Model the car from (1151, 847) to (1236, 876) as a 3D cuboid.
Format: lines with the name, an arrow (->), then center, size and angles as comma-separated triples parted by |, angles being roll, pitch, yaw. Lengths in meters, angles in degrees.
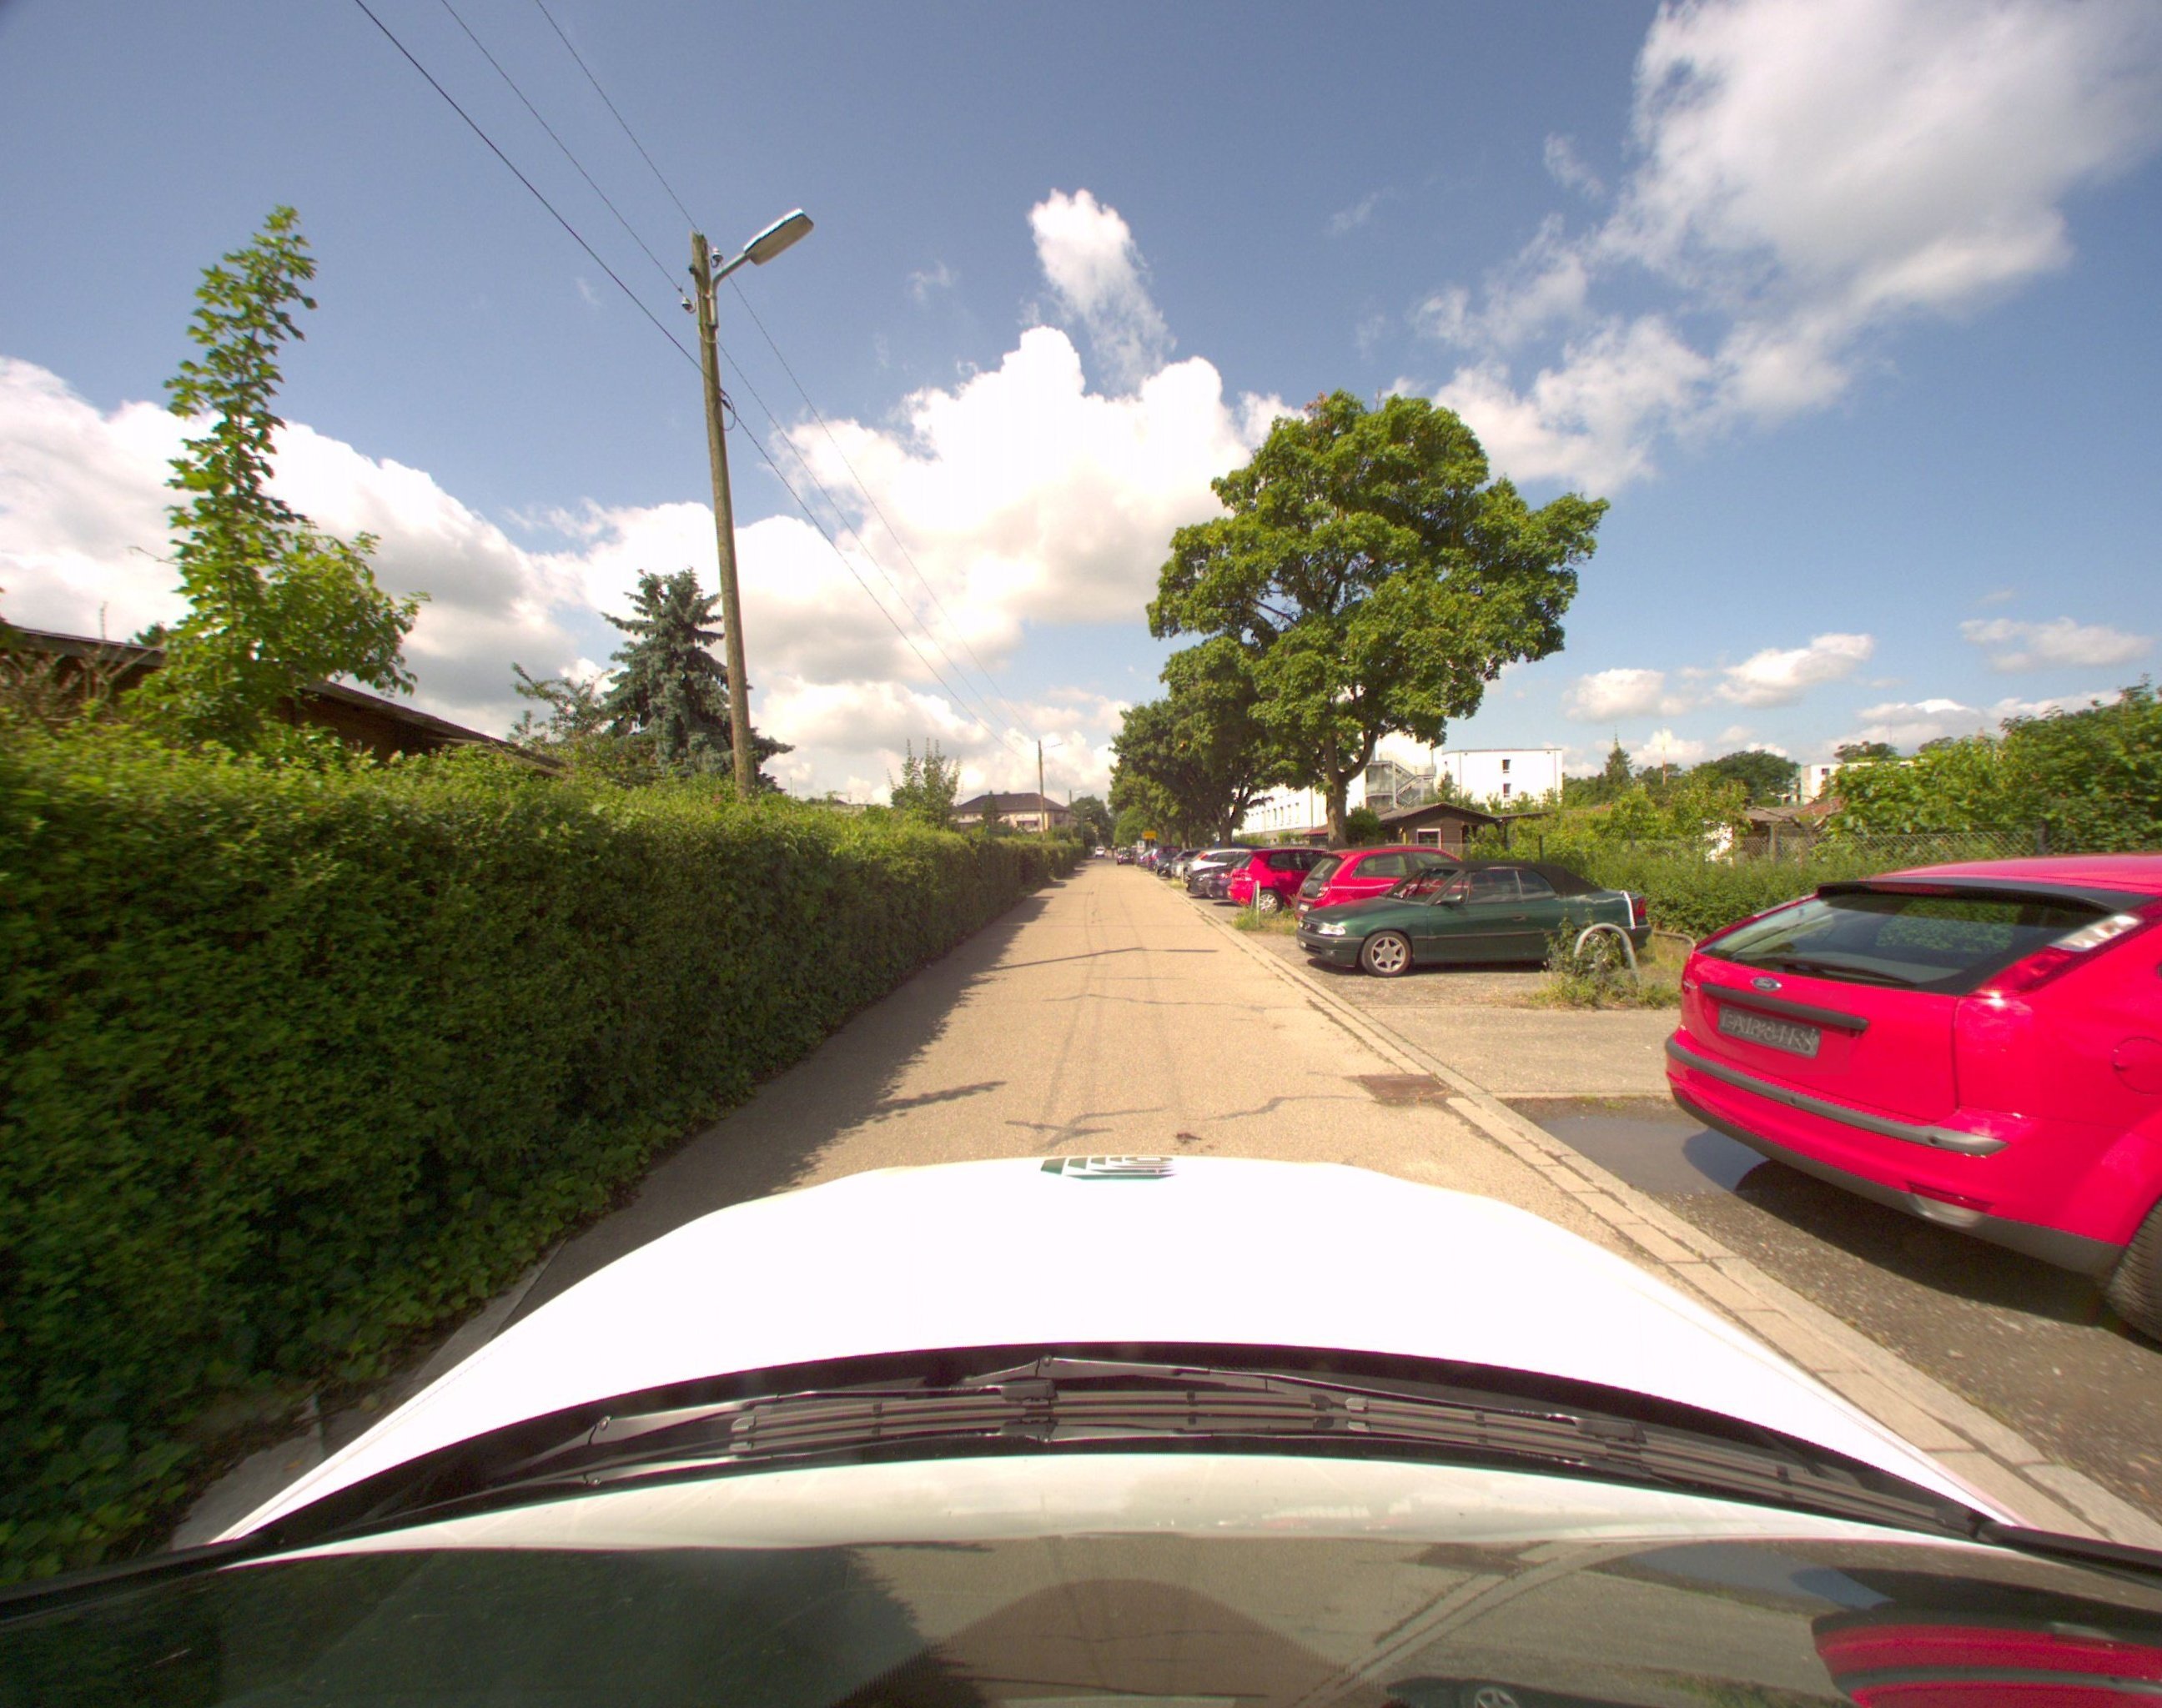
car -> 5.948, 0.382, 43.486 | 4.320, 1.492, 1.976 | 0, 0, 1

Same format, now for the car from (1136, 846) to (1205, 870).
car -> 6.020, 0.257, 55.166 | 4.533, 1.578, 1.809 | 0, 0, 0

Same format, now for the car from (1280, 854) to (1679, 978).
car -> 4.894, 0.715, 10.440 | 4.228, 1.428, 1.907 | 0, 0, -2

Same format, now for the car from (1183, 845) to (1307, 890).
car -> 5.601, 0.442, 28.250 | 4.046, 1.511, 1.960 | 0, 0, 4

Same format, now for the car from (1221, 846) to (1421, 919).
car -> 5.158, 0.585, 17.964 | 3.968, 1.519, 1.857 | 0, 0, 5

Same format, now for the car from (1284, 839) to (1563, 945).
car -> 5.371, 0.573, 13.155 | 3.750, 1.573, 1.870 | 0, 0, 1

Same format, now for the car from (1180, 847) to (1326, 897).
car -> 5.123, 0.520, 24.652 | 4.053, 1.455, 1.869 | 0, 0, -1

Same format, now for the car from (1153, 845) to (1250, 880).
car -> 5.560, 0.384, 37.922 | 4.287, 1.594, 2.000 | 0, 0, 1

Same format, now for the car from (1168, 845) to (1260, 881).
car -> 5.726, 0.377, 35.334 | 3.713, 1.540, 1.849 | 0, 0, -2

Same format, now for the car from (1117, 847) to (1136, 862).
car -> 4.504, 0.057, 79.911 | 1.654, 1.506, 4.008 | 0, 0, 7

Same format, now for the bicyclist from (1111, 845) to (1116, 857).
bicyclist -> 5.211, -0.486, 132.113 | 0.656, 1.852, 1.044 | -3, 0, 4

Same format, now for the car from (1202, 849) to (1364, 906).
car -> 5.222, 0.590, 21.480 | 3.892, 1.423, 1.960 | 0, 0, 4

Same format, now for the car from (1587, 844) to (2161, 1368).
car -> 4.665, 0.727, 3.218 | 4.166, 1.504, 1.879 | 0, 0, 2

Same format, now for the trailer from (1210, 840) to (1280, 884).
trailer -> 6.502, 0.301, 32.427 | 2.443, 1.720, 1.517 | 0, 1, -2

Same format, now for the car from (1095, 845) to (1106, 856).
car -> 3.541, -0.639, 148.604 | 1.894, 1.814, 4.005 | 0, 0, 4

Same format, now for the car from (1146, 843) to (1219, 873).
car -> 6.036, 0.260, 48.566 | 4.139, 1.637, 1.879 | -2, 0, 1

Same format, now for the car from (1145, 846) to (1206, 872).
car -> 6.086, 0.319, 52.753 | 3.795, 1.532, 1.763 | -2, 0, 1
